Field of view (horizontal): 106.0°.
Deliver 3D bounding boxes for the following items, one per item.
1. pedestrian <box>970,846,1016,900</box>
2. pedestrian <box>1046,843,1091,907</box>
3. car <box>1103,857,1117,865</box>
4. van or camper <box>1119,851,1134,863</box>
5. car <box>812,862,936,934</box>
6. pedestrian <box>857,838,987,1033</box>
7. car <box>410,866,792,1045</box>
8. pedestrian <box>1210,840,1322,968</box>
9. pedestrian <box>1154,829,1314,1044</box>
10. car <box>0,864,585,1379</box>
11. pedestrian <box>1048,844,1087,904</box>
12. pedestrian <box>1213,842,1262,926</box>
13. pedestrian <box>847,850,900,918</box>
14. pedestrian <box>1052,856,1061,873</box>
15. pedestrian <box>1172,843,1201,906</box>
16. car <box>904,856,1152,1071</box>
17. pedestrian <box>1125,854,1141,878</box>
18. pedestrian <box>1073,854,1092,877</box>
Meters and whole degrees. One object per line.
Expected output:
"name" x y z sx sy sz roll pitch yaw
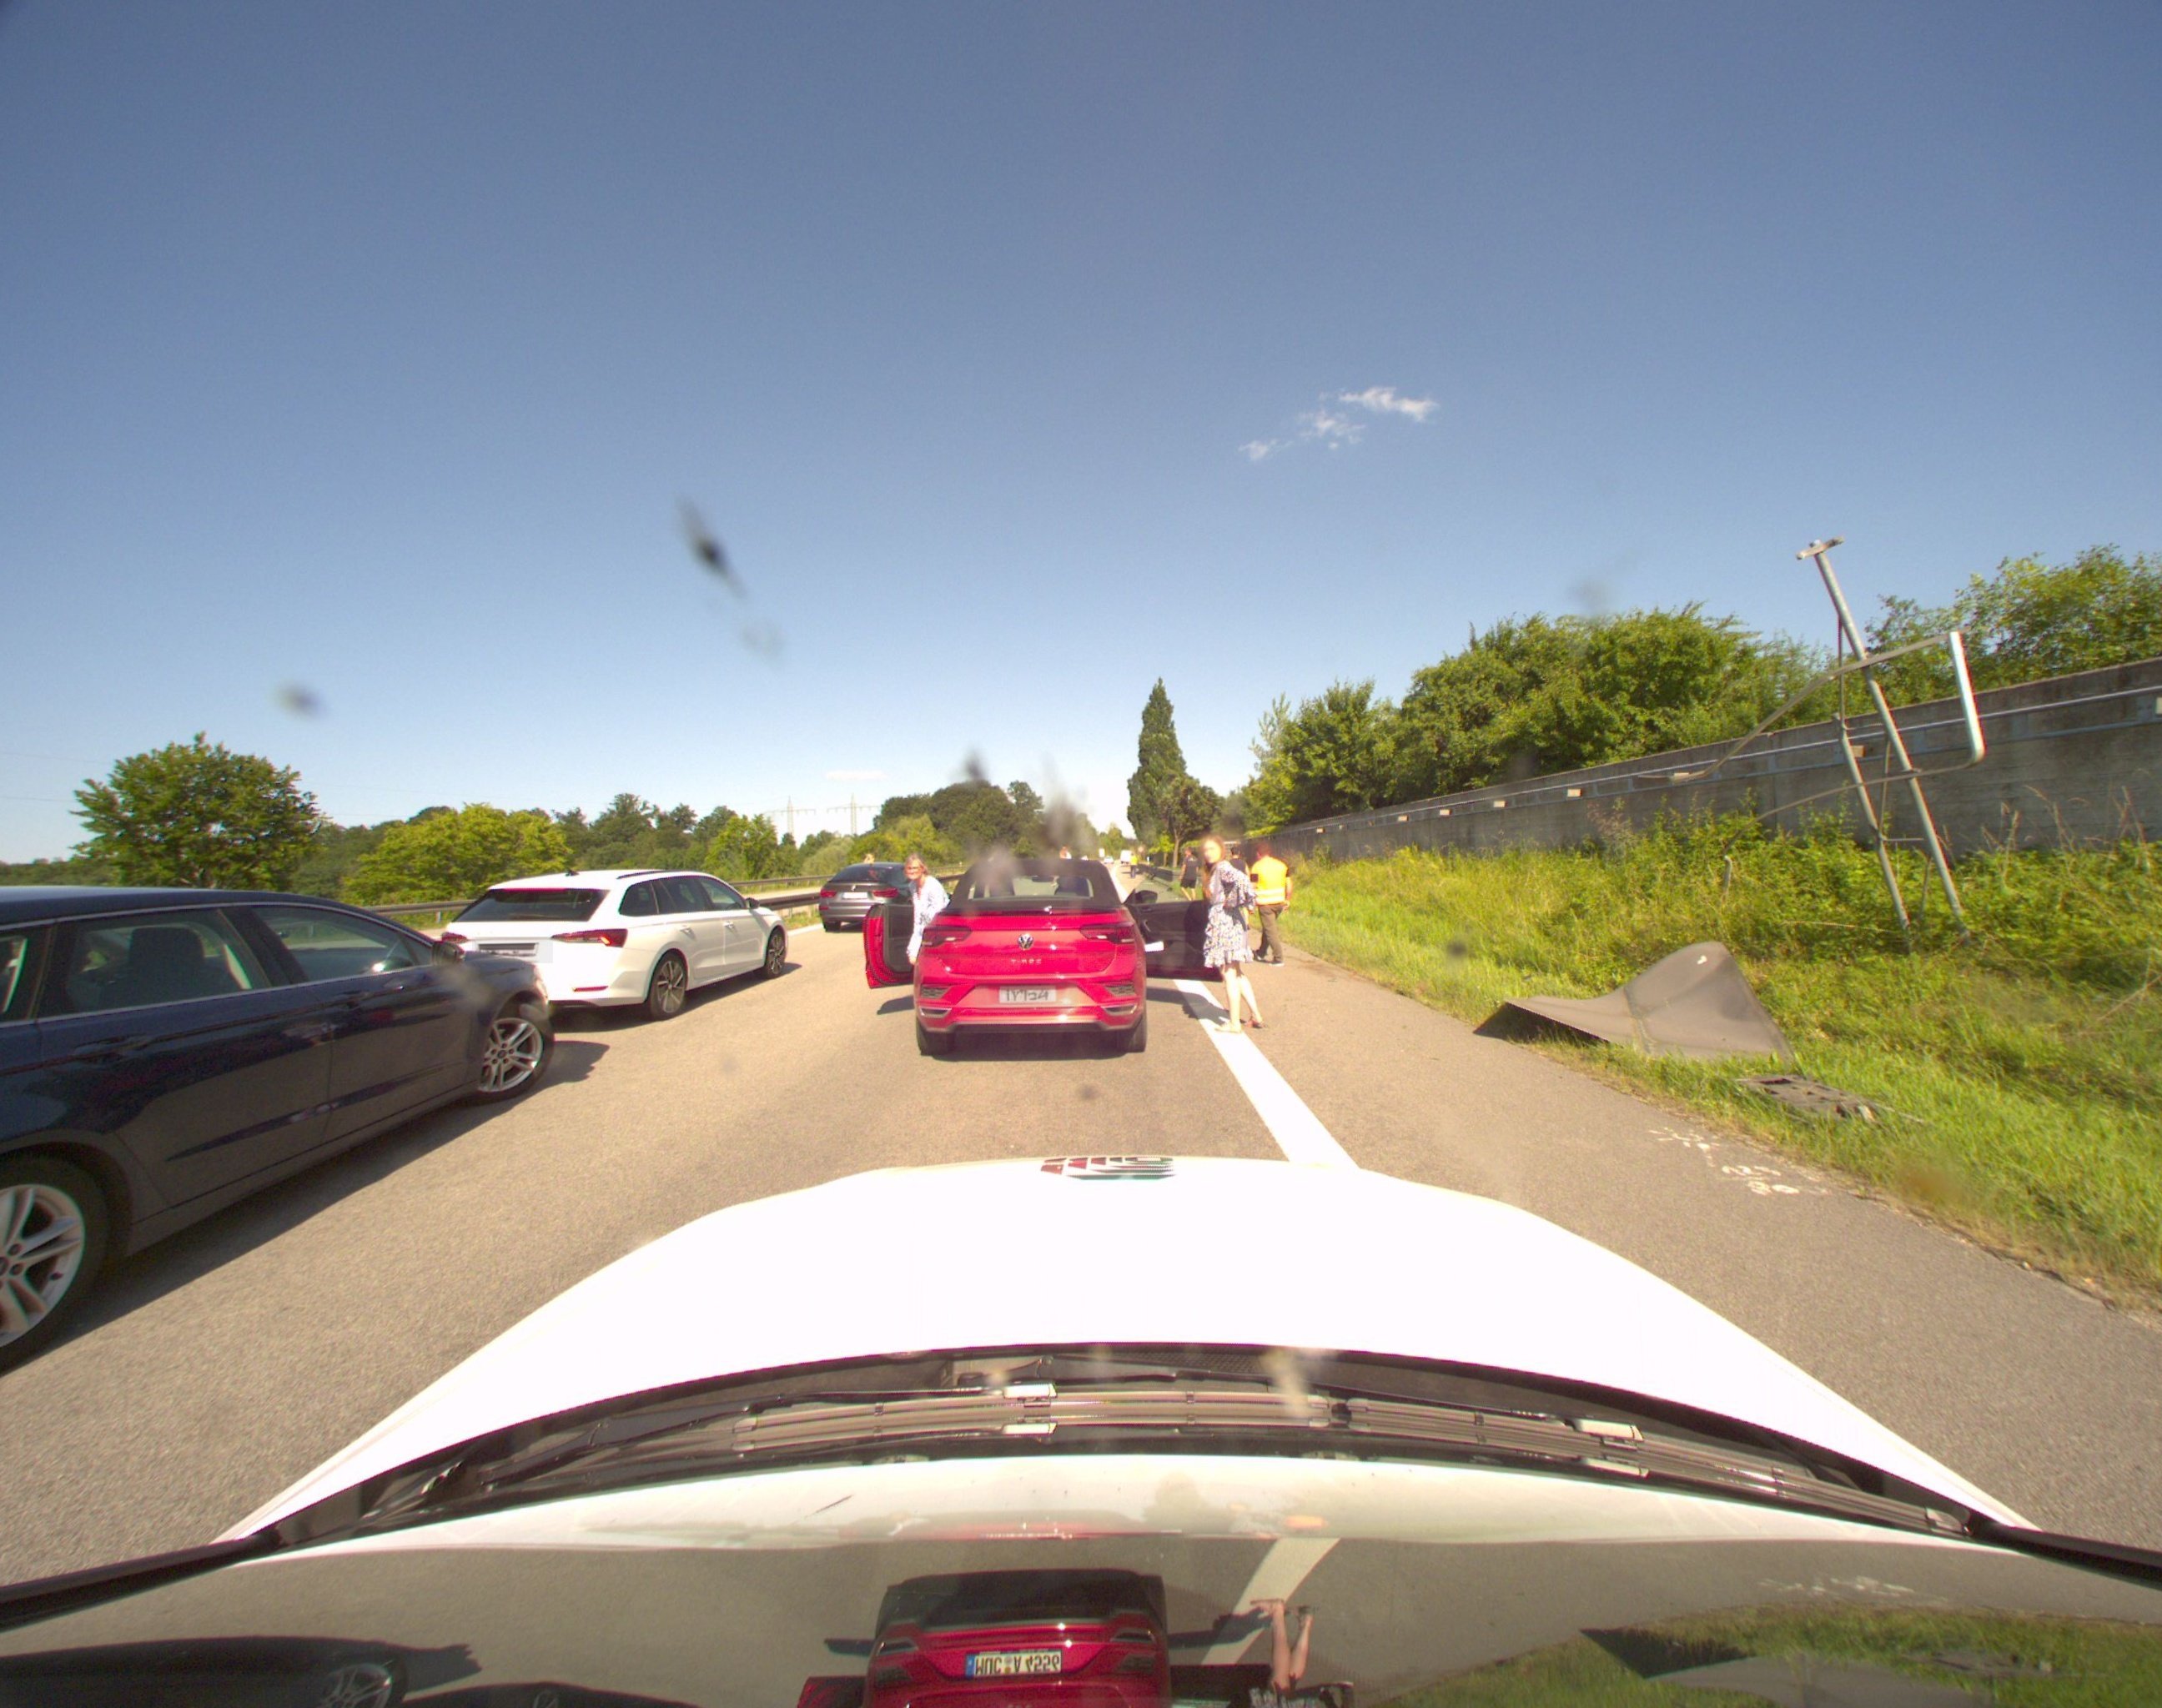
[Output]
"pedestrian" -2.998 0.627 27.722 1.094 1.789 1.098 -1 -1 43
"pedestrian" -0.360 0.626 24.852 1.058 1.883 1.097 -2 0 13
"car" 5.759 1.301 161.150 1.719 1.487 4.229 -1 0 17
"van or camper" 9.001 0.525 159.968 1.978 2.316 4.490 -1 -1 17
"car" -4.620 0.918 18.804 1.689 1.426 4.334 -1 0 1
"pedestrian" -1.462 0.710 7.544 0.831 1.683 0.748 -2 0 30
"car" -4.817 0.888 9.011 1.689 1.441 4.210 -1 0 1
"pedestrian" 2.586 0.668 11.509 0.961 1.654 1.269 -2 0 -20
"pedestrian" 1.287 0.666 7.067 1.123 1.695 0.891 -2 0 -5
"car" -4.199 0.836 3.514 1.786 1.493 4.481 -2 -1 -7
"pedestrian" -0.457 0.645 26.949 1.105 1.912 1.254 -2 0 -7
"pedestrian" 3.290 0.624 17.218 0.891 1.725 0.755 -1 -1 2
"pedestrian" -5.655 0.791 22.234 1.036 1.763 1.119 -2 0 3
"pedestrian" -2.435 1.033 80.987 0.787 1.689 0.793 -1 -1 5
"pedestrian" 3.035 0.578 23.397 0.807 1.759 0.830 -1 -1 9
"car" -0.345 0.772 7.817 1.726 1.487 4.210 -1 0 1
"pedestrian" 3.665 0.856 57.657 1.050 1.689 1.019 -1 -1 7
"pedestrian" 0.111 0.848 59.349 1.105 1.689 0.977 -1 -1 17
